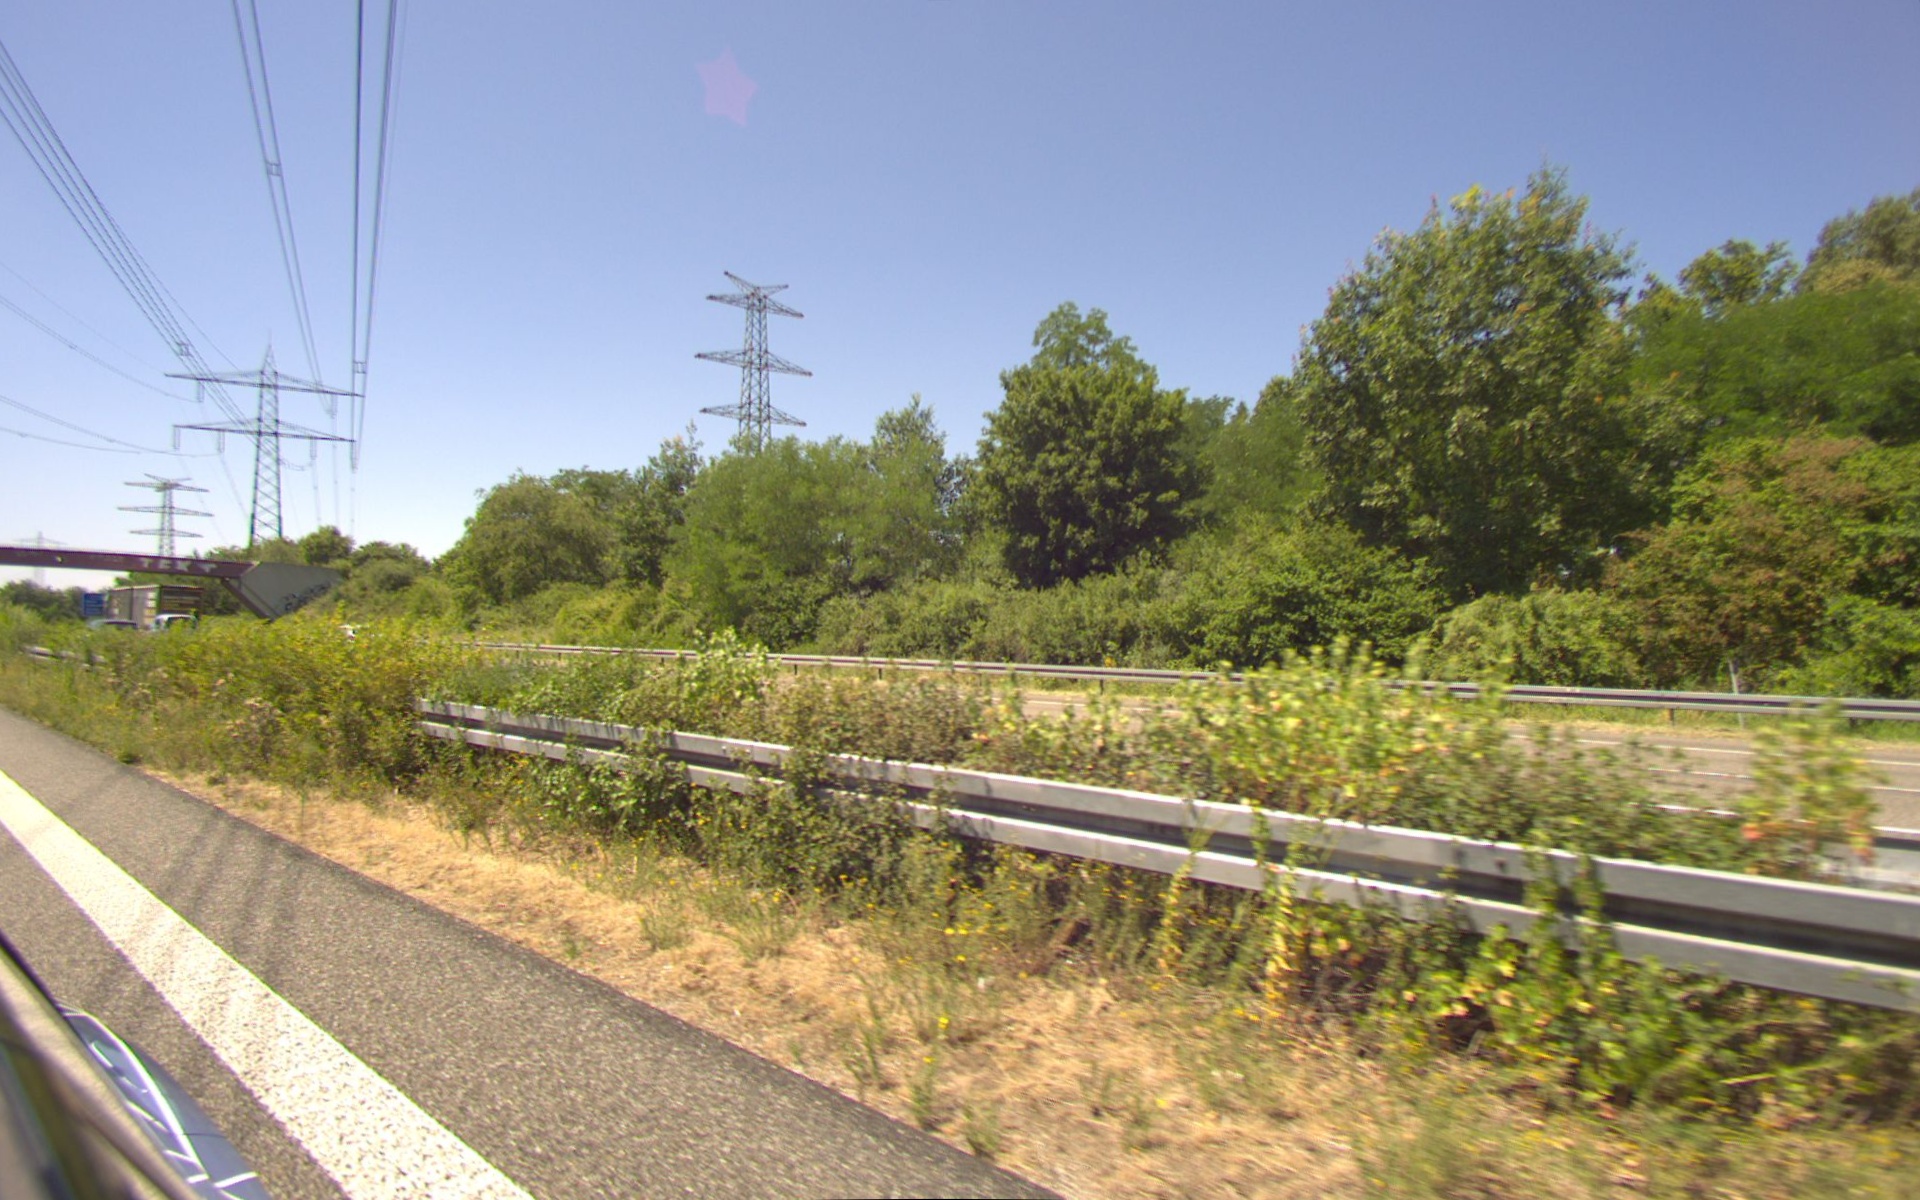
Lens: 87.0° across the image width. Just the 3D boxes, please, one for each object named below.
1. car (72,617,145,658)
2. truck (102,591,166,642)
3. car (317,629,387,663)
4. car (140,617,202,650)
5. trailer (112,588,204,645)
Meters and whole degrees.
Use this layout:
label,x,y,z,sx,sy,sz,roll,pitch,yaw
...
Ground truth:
label,x,y,z,sx,sy,sz,roll,pitch,yaw
car,-35.518,1.553,42.199,3.735,1.608,1.746,-1,-3,41
truck,-63.414,1.284,77.704,5.409,3.713,2.851,-1,-3,41
car,-28.145,2.110,46.817,3.735,1.513,1.695,-1,-4,41
car,-39.998,1.702,51.288,3.735,1.608,1.746,-1,-3,41
trailer,-57.693,1.211,72.652,12.711,3.716,2.844,-1,-3,41
